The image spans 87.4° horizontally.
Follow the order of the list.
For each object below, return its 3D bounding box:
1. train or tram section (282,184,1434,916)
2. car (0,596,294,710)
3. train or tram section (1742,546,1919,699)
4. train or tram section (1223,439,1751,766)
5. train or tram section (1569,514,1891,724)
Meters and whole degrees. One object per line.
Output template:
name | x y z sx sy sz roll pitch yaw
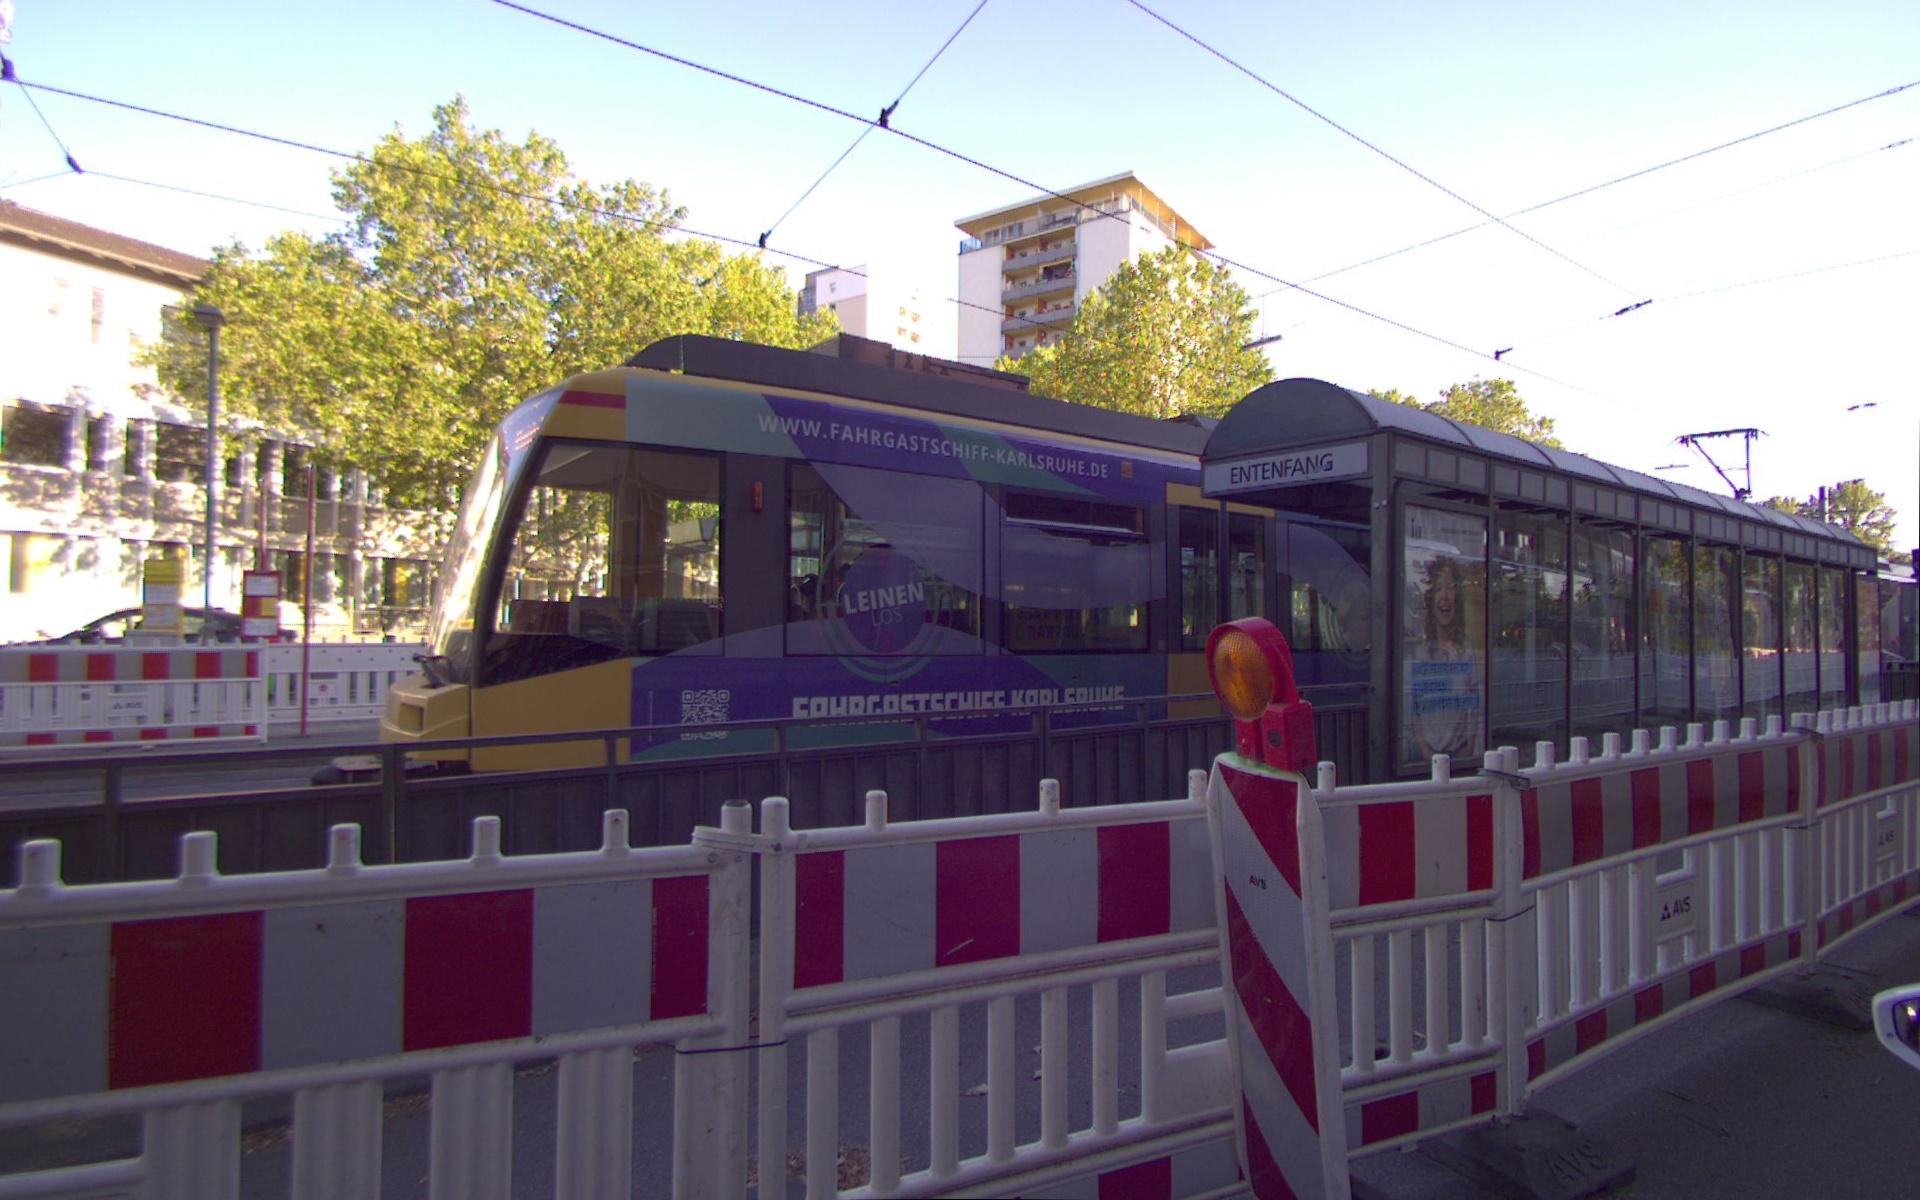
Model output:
train or tram section | 0.159 -0.099 9.005 10.238 3.533 2.816 2 -1 -36
car | -13.797 0.830 16.597 4.544 1.689 1.881 2 0 -37
train or tram section | 24.682 0.666 27.364 10.243 3.533 2.796 2 -1 -37
train or tram section | 8.405 0.174 15.058 10.240 3.533 2.851 2 -1 -36
train or tram section | 16.547 0.473 21.176 10.243 3.533 2.815 2 -1 -37
